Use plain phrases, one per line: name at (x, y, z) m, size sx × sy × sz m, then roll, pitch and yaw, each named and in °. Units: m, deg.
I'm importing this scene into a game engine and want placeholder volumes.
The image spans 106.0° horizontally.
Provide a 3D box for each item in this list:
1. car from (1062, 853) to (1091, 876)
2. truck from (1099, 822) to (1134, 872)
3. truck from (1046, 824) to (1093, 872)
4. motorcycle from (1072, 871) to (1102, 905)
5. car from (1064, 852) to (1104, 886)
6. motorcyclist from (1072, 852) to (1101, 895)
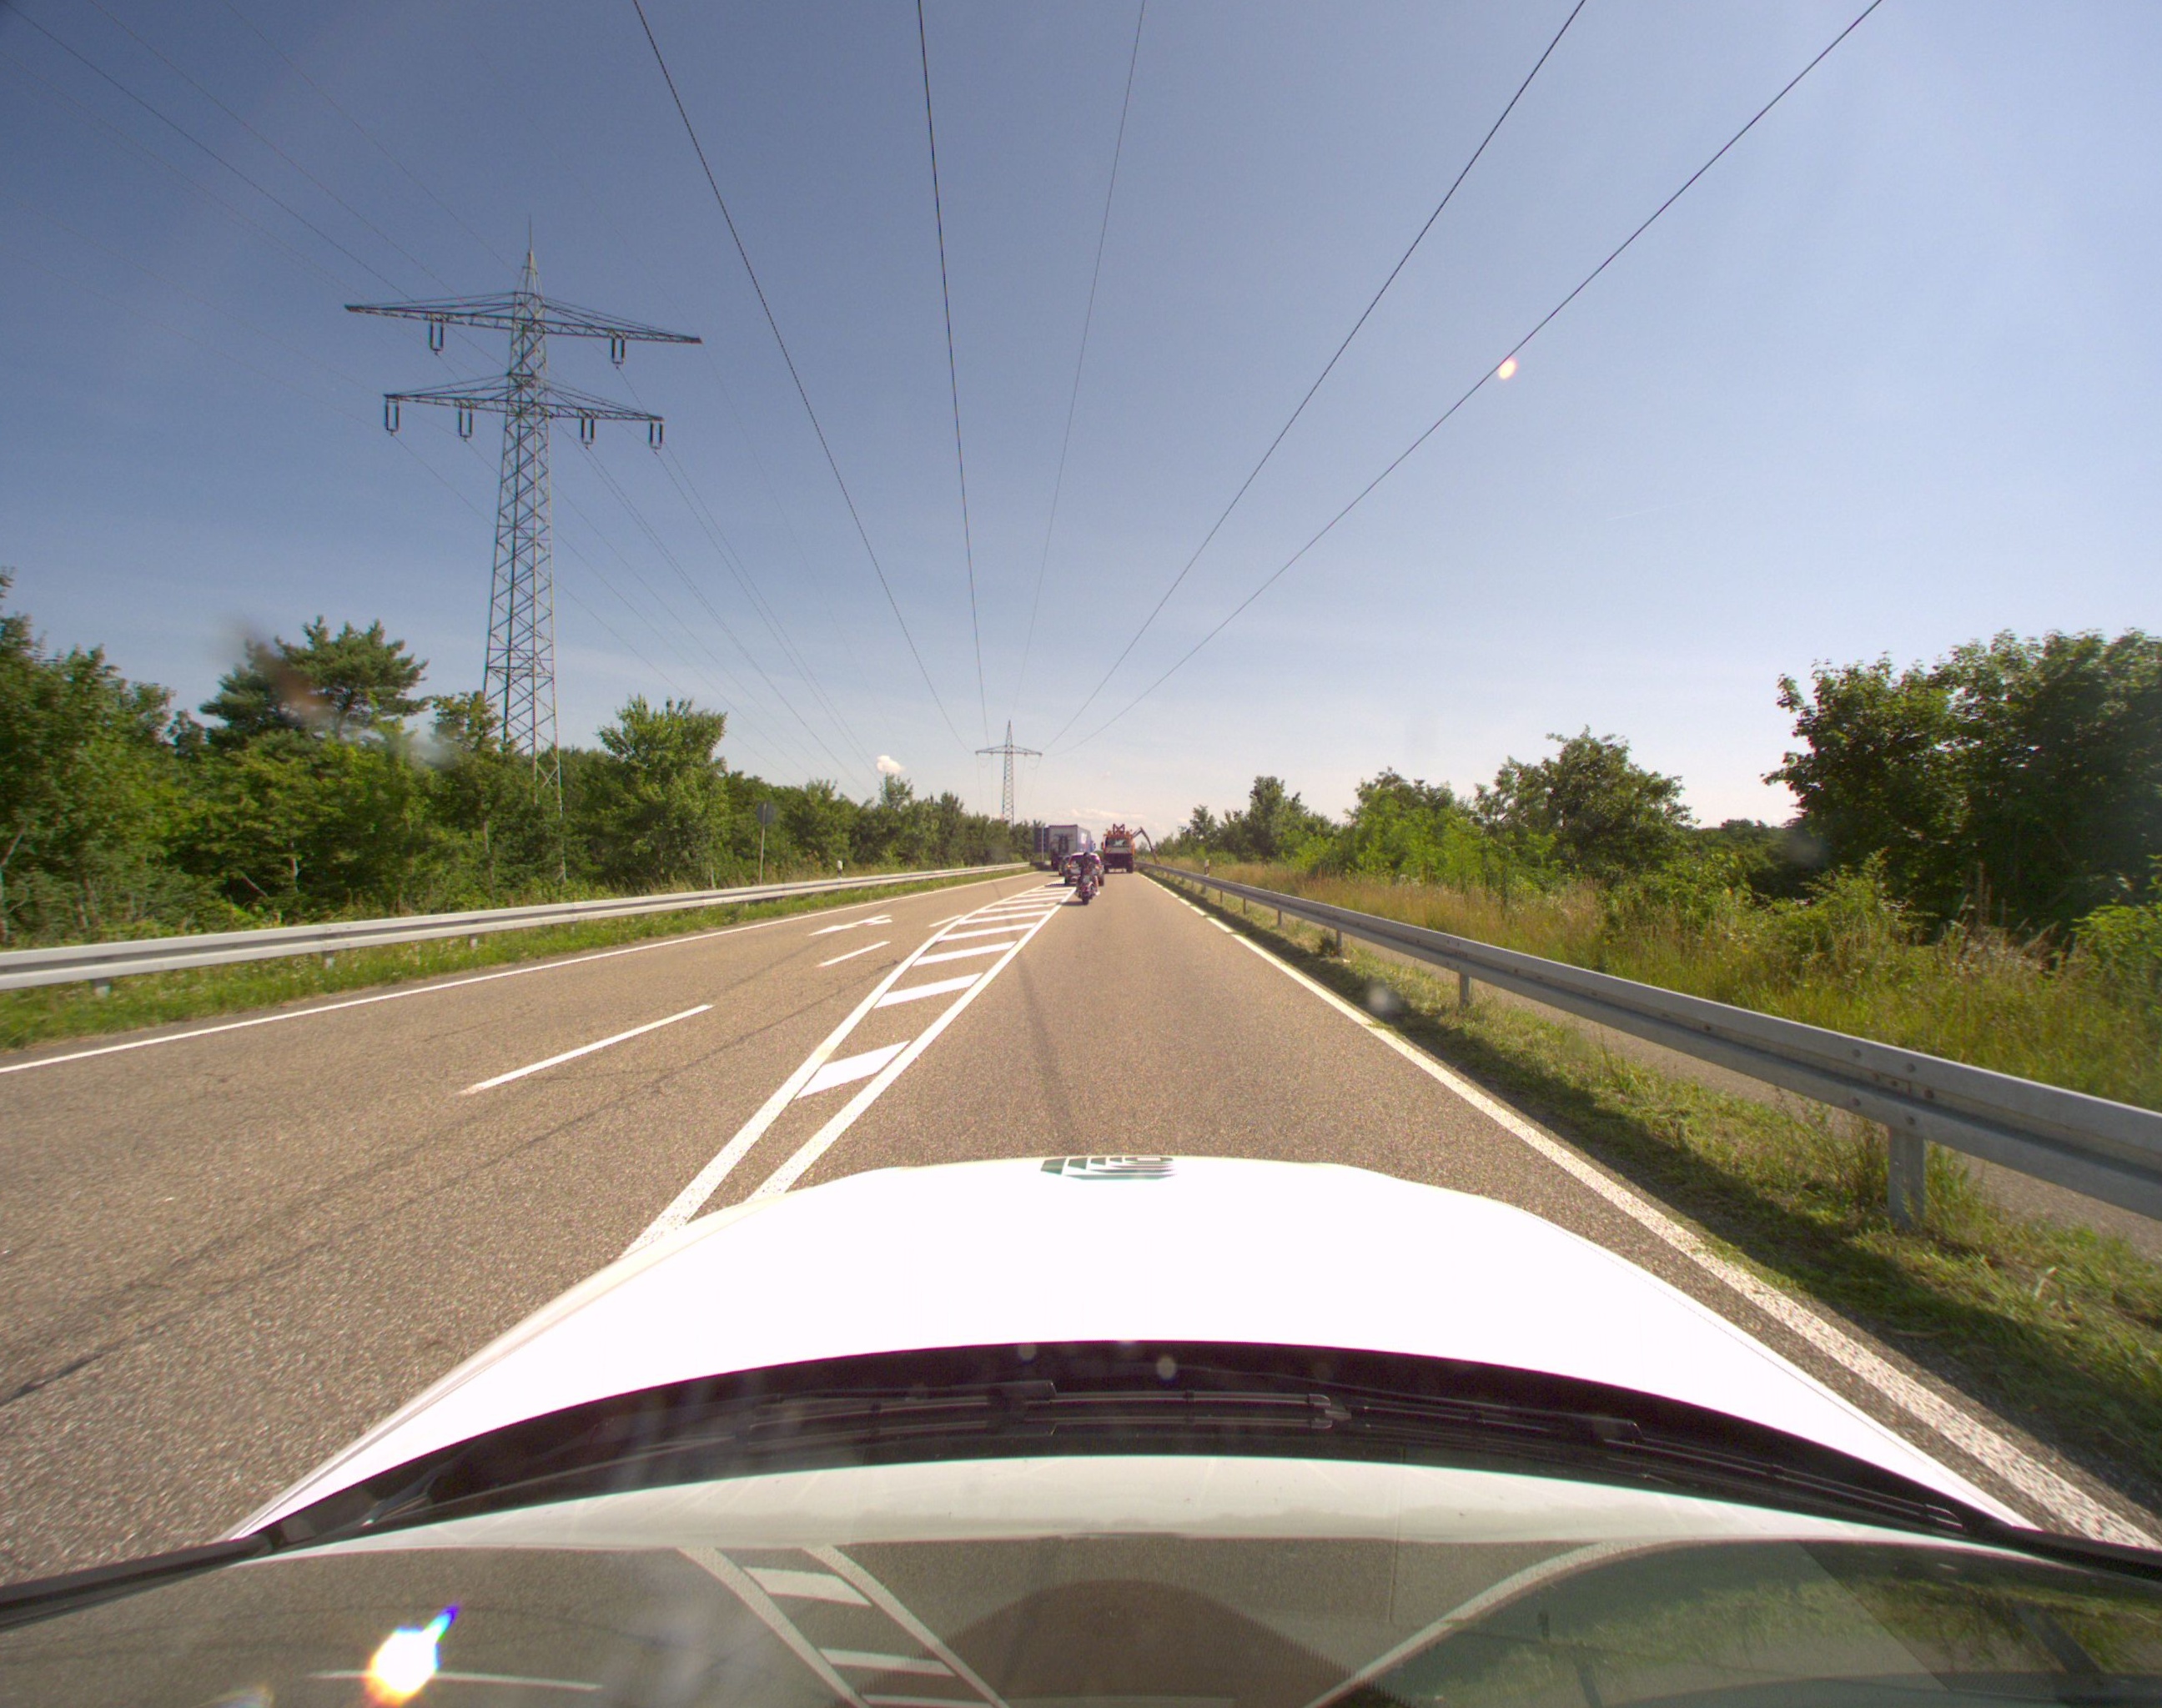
car at (-0.300, 0.666, 55.750) m, size 1.848 × 1.489 × 3.741 m, roll 0°, pitch 0°, yaw 1°
truck at (2.808, -0.525, 63.846) m, size 2.603 × 3.711 × 6.781 m, roll 0°, pitch 0°, yaw 2°
truck at (-0.883, -0.516, 78.538) m, size 2.953 × 4.187 × 14.844 m, roll 0°, pitch 0°, yaw 5°
motorcycle at (0.180, 0.991, 24.505) m, size 0.856 × 0.915 × 2.228 m, roll -1°, pitch 0°, yaw 0°
car at (0.102, 0.662, 38.339) m, size 1.697 × 1.536 × 3.496 m, roll 0°, pitch 0°, yaw -3°
motorcyclist at (0.169, 0.588, 24.689) m, size 0.834 × 1.280 × 0.919 m, roll 0°, pitch 0°, yaw 0°
